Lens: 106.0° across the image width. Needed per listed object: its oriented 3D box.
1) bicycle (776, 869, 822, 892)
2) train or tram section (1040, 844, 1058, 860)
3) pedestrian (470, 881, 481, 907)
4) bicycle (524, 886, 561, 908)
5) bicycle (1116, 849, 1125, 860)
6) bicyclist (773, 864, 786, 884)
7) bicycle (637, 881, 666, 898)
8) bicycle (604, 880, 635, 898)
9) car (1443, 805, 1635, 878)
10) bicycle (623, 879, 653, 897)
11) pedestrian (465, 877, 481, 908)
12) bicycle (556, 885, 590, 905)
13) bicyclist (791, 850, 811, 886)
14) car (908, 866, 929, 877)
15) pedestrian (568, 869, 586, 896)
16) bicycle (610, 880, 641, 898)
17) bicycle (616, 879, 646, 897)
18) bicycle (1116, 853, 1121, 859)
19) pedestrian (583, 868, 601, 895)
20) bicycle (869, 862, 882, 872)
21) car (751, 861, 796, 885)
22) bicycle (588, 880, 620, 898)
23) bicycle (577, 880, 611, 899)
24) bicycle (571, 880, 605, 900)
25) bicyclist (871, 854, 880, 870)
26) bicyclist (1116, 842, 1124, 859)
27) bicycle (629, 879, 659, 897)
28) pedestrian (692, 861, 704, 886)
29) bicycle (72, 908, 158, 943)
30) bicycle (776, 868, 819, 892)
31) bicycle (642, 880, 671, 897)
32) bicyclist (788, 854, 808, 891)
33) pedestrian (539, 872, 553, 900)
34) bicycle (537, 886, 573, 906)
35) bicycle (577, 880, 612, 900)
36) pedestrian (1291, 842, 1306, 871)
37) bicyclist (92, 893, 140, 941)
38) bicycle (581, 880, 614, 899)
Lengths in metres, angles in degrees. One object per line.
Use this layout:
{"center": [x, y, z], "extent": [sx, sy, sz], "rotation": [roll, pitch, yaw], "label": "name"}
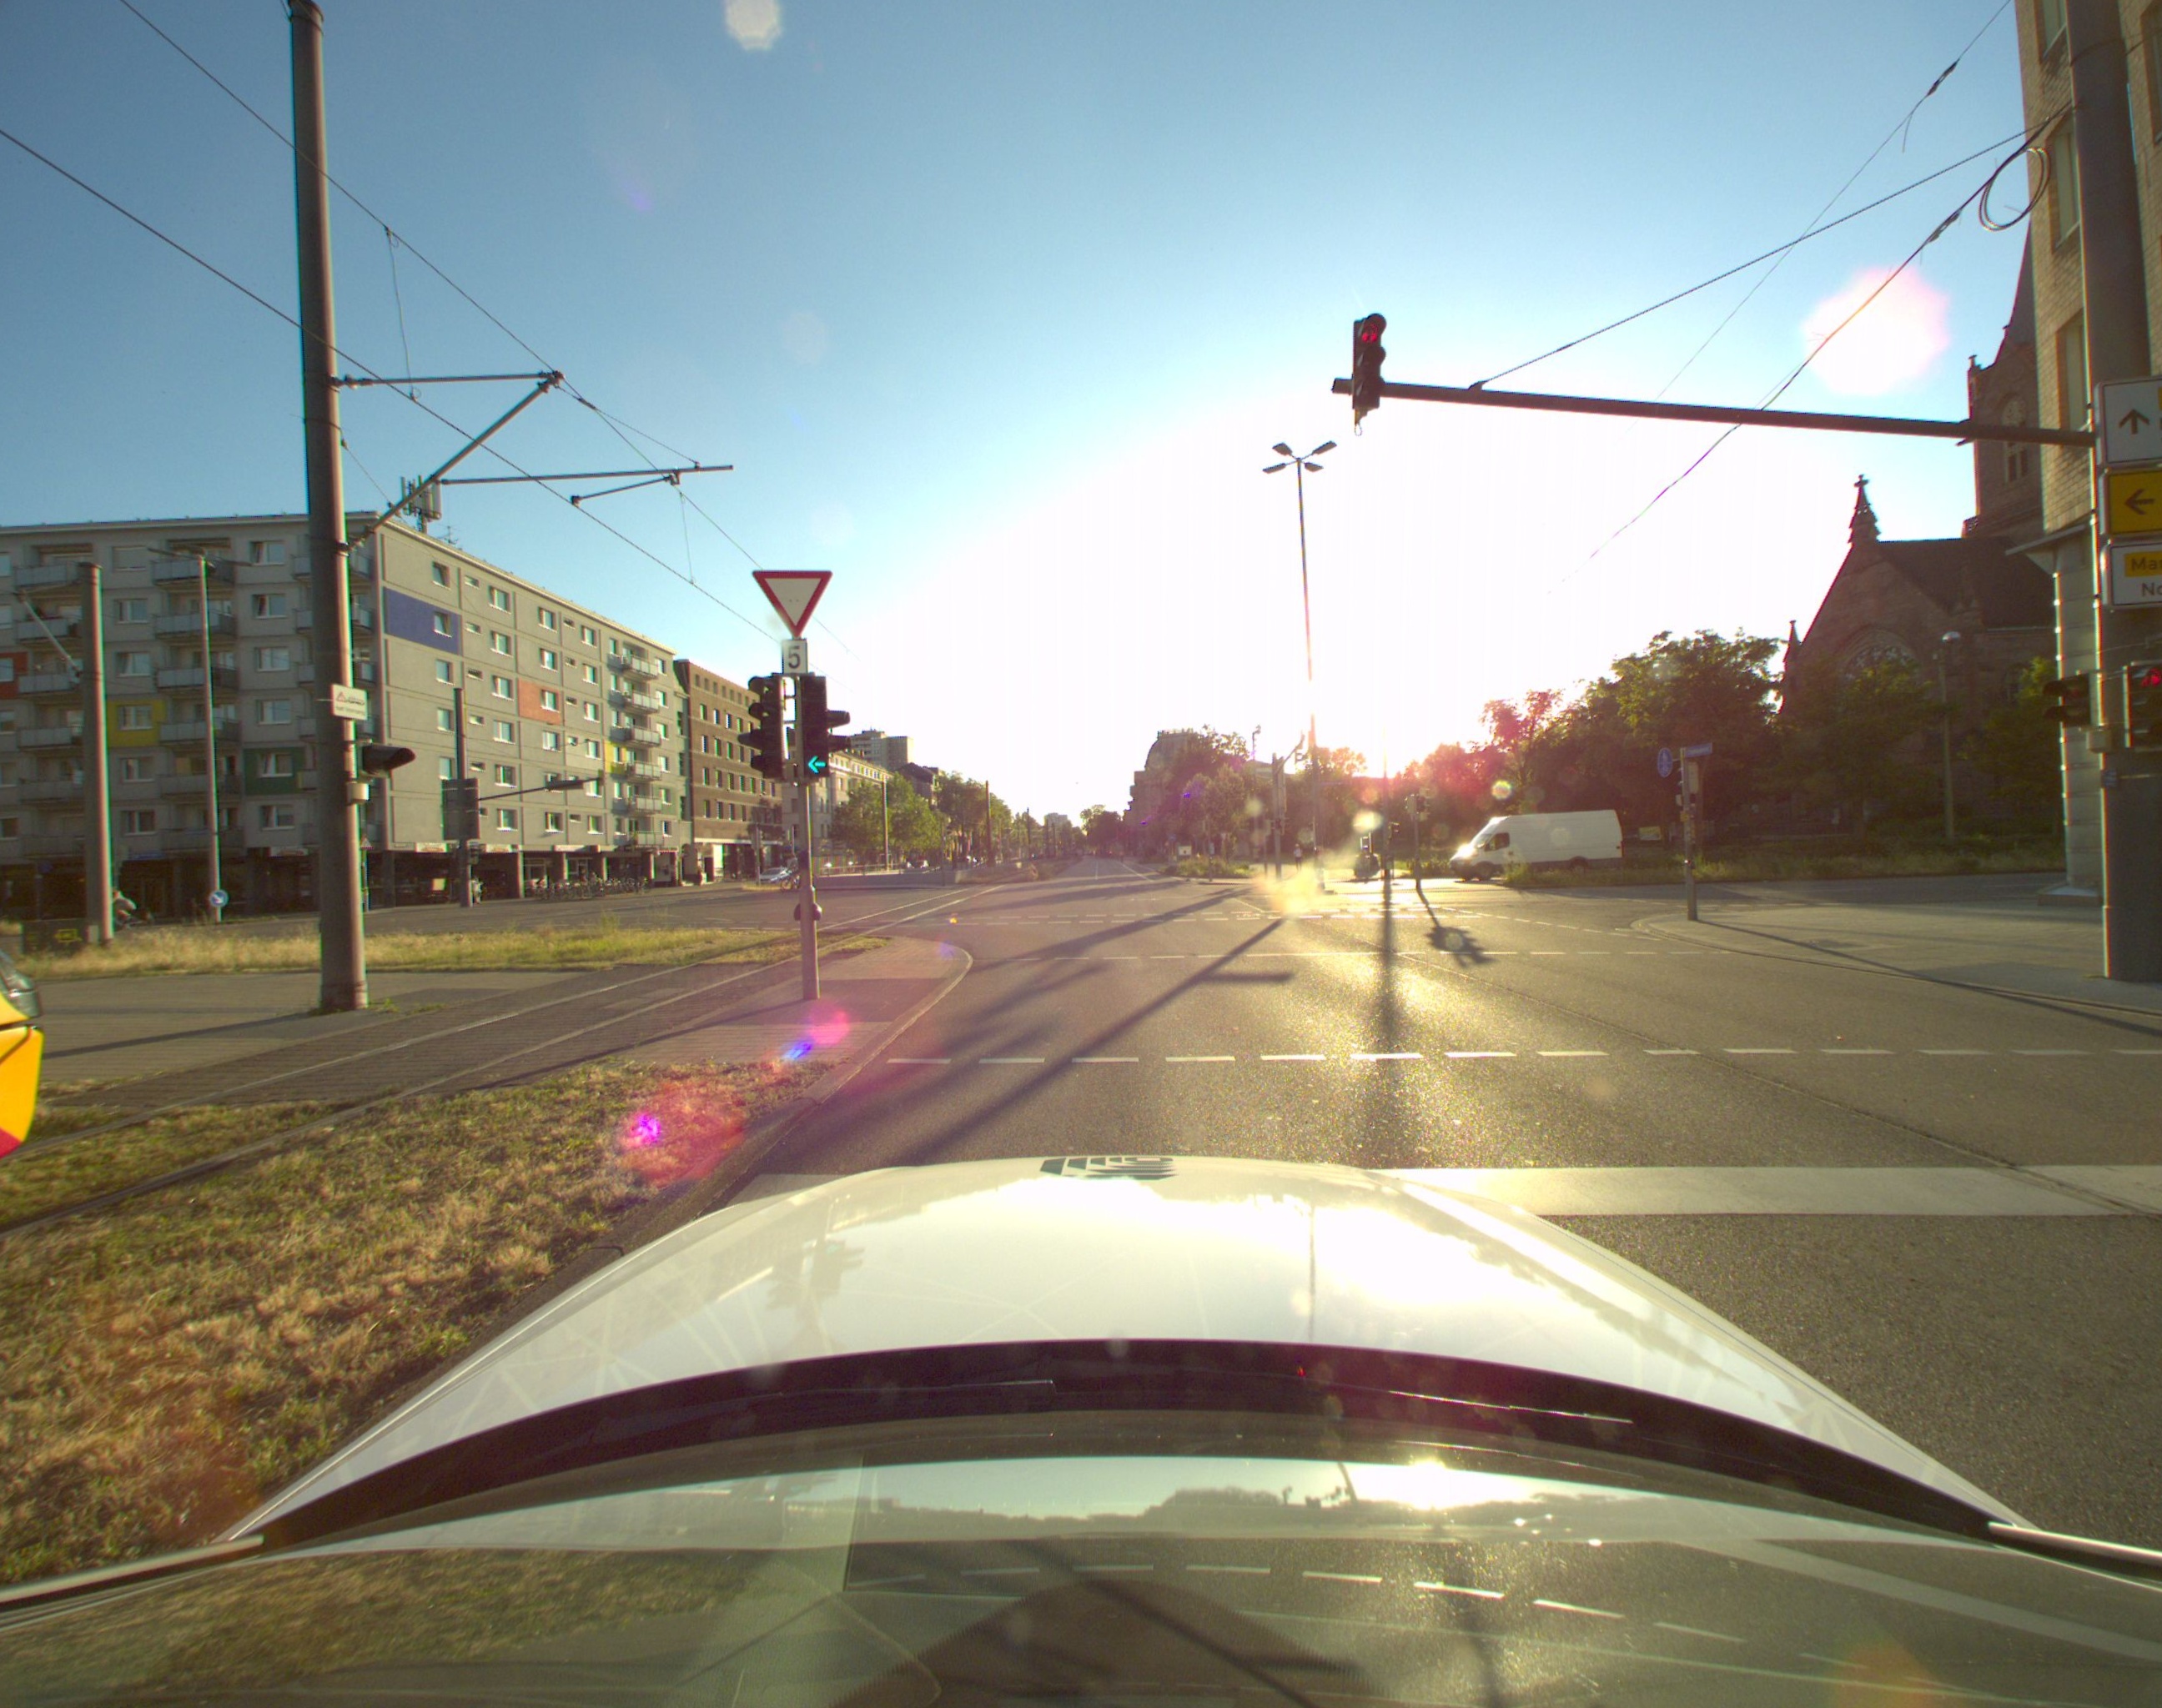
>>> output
{"center": [-14.557, 1.355, 42.057], "extent": [2.168, 1.083, 0.536], "rotation": [-2, 0, -16], "label": "bicycle"}
{"center": [-8.091, -0.556, 207.011], "extent": [4.375, 3.850, 11.400], "rotation": [-2, 0, -2], "label": "train or tram section"}
{"center": [-32.963, 2.153, 44.357], "extent": [0.383, 1.383, 0.392], "rotation": [-2, 0, -26], "label": "pedestrian"}
{"center": [-32.279, 2.578, 48.819], "extent": [1.788, 1.208, 0.638], "rotation": [-2, 0, 0], "label": "bicycle"}
{"center": [5.176, 0.004, 108.000], "extent": [1.094, 1.399, 2.833], "rotation": [-2, 0, 2], "label": "bicycle"}
{"center": [-27.257, 1.824, 73.576], "extent": [0.697, 1.742, 0.794], "rotation": [-2, 0, 13], "label": "bicyclist"}
{"center": [-30.795, 2.552, 58.426], "extent": [1.683, 1.170, 0.749], "rotation": [-2, 0, 3], "label": "bicycle"}
{"center": [-31.142, 2.347, 54.993], "extent": [1.748, 1.117, 0.552], "rotation": [-2, 0, 2], "label": "bicycle"}
{"center": [19.616, -0.514, 35.159], "extent": [6.981, 2.827, 2.095], "rotation": [-2, 0, 3], "label": "car"}
{"center": [-30.956, 2.375, 56.897], "extent": [1.683, 1.153, 0.706], "rotation": [-2, 0, 3], "label": "bicycle"}
{"center": [-32.732, 2.061, 43.862], "extent": [0.575, 1.620, 0.598], "rotation": [-2, 0, -29], "label": "pedestrian"}
{"center": [-31.524, 2.522, 50.545], "extent": [1.750, 1.139, 0.600], "rotation": [-2, 0, 2], "label": "bicycle"}
{"center": [-14.455, 0.712, 42.096], "extent": [0.878, 1.818, 0.535], "rotation": [-2, 0, -16], "label": "bicyclist"}
{"center": [-23.242, 2.551, 116.707], "extent": [1.810, 1.420, 4.006], "rotation": [-2, 0, 5], "label": "car"}
{"center": [-35.430, 1.999, 57.245], "extent": [0.826, 1.813, 0.719], "rotation": [-1, 0, -9], "label": "pedestrian"}
{"center": [-31.105, 2.368, 55.579], "extent": [1.754, 1.119, 0.568], "rotation": [-2, 0, 2], "label": "bicycle"}
{"center": [-31.048, 2.353, 56.218], "extent": [1.719, 1.124, 0.634], "rotation": [-2, -1, 3], "label": "bicycle"}
{"center": [7.409, 0.442, 161.939], "extent": [0.921, 1.111, 2.334], "rotation": [-2, 0, 2], "label": "bicycle"}
{"center": [-34.425, 1.945, 57.359], "extent": [0.785, 1.841, 0.733], "rotation": [-2, 0, -7], "label": "pedestrian"}
{"center": [-25.965, 1.603, 103.099], "extent": [0.809, 1.201, 2.415], "rotation": [-2, 0, 4], "label": "bicycle"}
{"center": [-23.855, 1.440, 63.264], "extent": [1.682, 1.618, 4.003], "rotation": [-3, 0, 3], "label": "car"}
{"center": [-31.856, 2.315, 54.403], "extent": [1.764, 1.136, 0.606], "rotation": [-2, 0, 2], "label": "bicycle"}
{"center": [-31.783, 2.338, 53.136], "extent": [1.824, 1.160, 0.640], "rotation": [-2, 0, 1], "label": "bicycle"}
{"center": [-31.263, 2.288, 51.674], "extent": [1.762, 1.182, 0.568], "rotation": [-2, 0, 1], "label": "bicycle"}
{"center": [-26.063, 1.027, 103.351], "extent": [0.793, 2.013, 0.924], "rotation": [-2, 0, 4], "label": "bicyclist"}
{"center": [5.163, -0.444, 107.963], "extent": [1.078, 2.276, 0.986], "rotation": [-2, 0, 1], "label": "bicyclist"}
{"center": [-30.903, 2.395, 57.655], "extent": [1.683, 1.179, 0.749], "rotation": [-2, 0, 3], "label": "bicycle"}
{"center": [-34.103, 1.714, 72.466], "extent": [0.599, 2.178, 0.792], "rotation": [-2, 0, 1], "label": "pedestrian"}
{"center": [-30.778, 2.252, 25.980], "extent": [0.503, 0.944, 1.678], "rotation": [-2, 0, 25], "label": "bicycle"}
{"center": [-13.949, 1.291, 40.120], "extent": [1.904, 1.075, 0.629], "rotation": [-2, 0, -15], "label": "bicycle"}
{"center": [-30.824, 2.512, 59.162], "extent": [1.683, 1.144, 0.697], "rotation": [-2, 0, 3], "label": "bicycle"}
{"center": [-13.957, 0.904, 40.129], "extent": [0.794, 1.818, 0.643], "rotation": [-2, 0, -13], "label": "bicyclist"}
{"center": [-33.193, 1.990, 50.518], "extent": [0.581, 1.684, 0.543], "rotation": [-2, 0, -18], "label": "pedestrian"}
{"center": [-32.215, 2.572, 49.854], "extent": [1.770, 1.142, 0.608], "rotation": [-2, 0, 1], "label": "bicycle"}
{"center": [-31.257, 2.322, 52.320], "extent": [1.782, 1.191, 0.652], "rotation": [-2, 0, 1], "label": "bicycle"}
{"center": [13.875, 0.145, 52.045], "extent": [0.826, 1.803, 0.814], "rotation": [-2, 0, 17], "label": "pedestrian"}
{"center": [-30.783, 1.998, 25.990], "extent": [0.495, 1.426, 0.862], "rotation": [-2, 0, 26], "label": "bicyclist"}
{"center": [-31.914, 2.359, 53.769], "extent": [1.769, 1.159, 0.606], "rotation": [-2, 0, 1], "label": "bicycle"}
